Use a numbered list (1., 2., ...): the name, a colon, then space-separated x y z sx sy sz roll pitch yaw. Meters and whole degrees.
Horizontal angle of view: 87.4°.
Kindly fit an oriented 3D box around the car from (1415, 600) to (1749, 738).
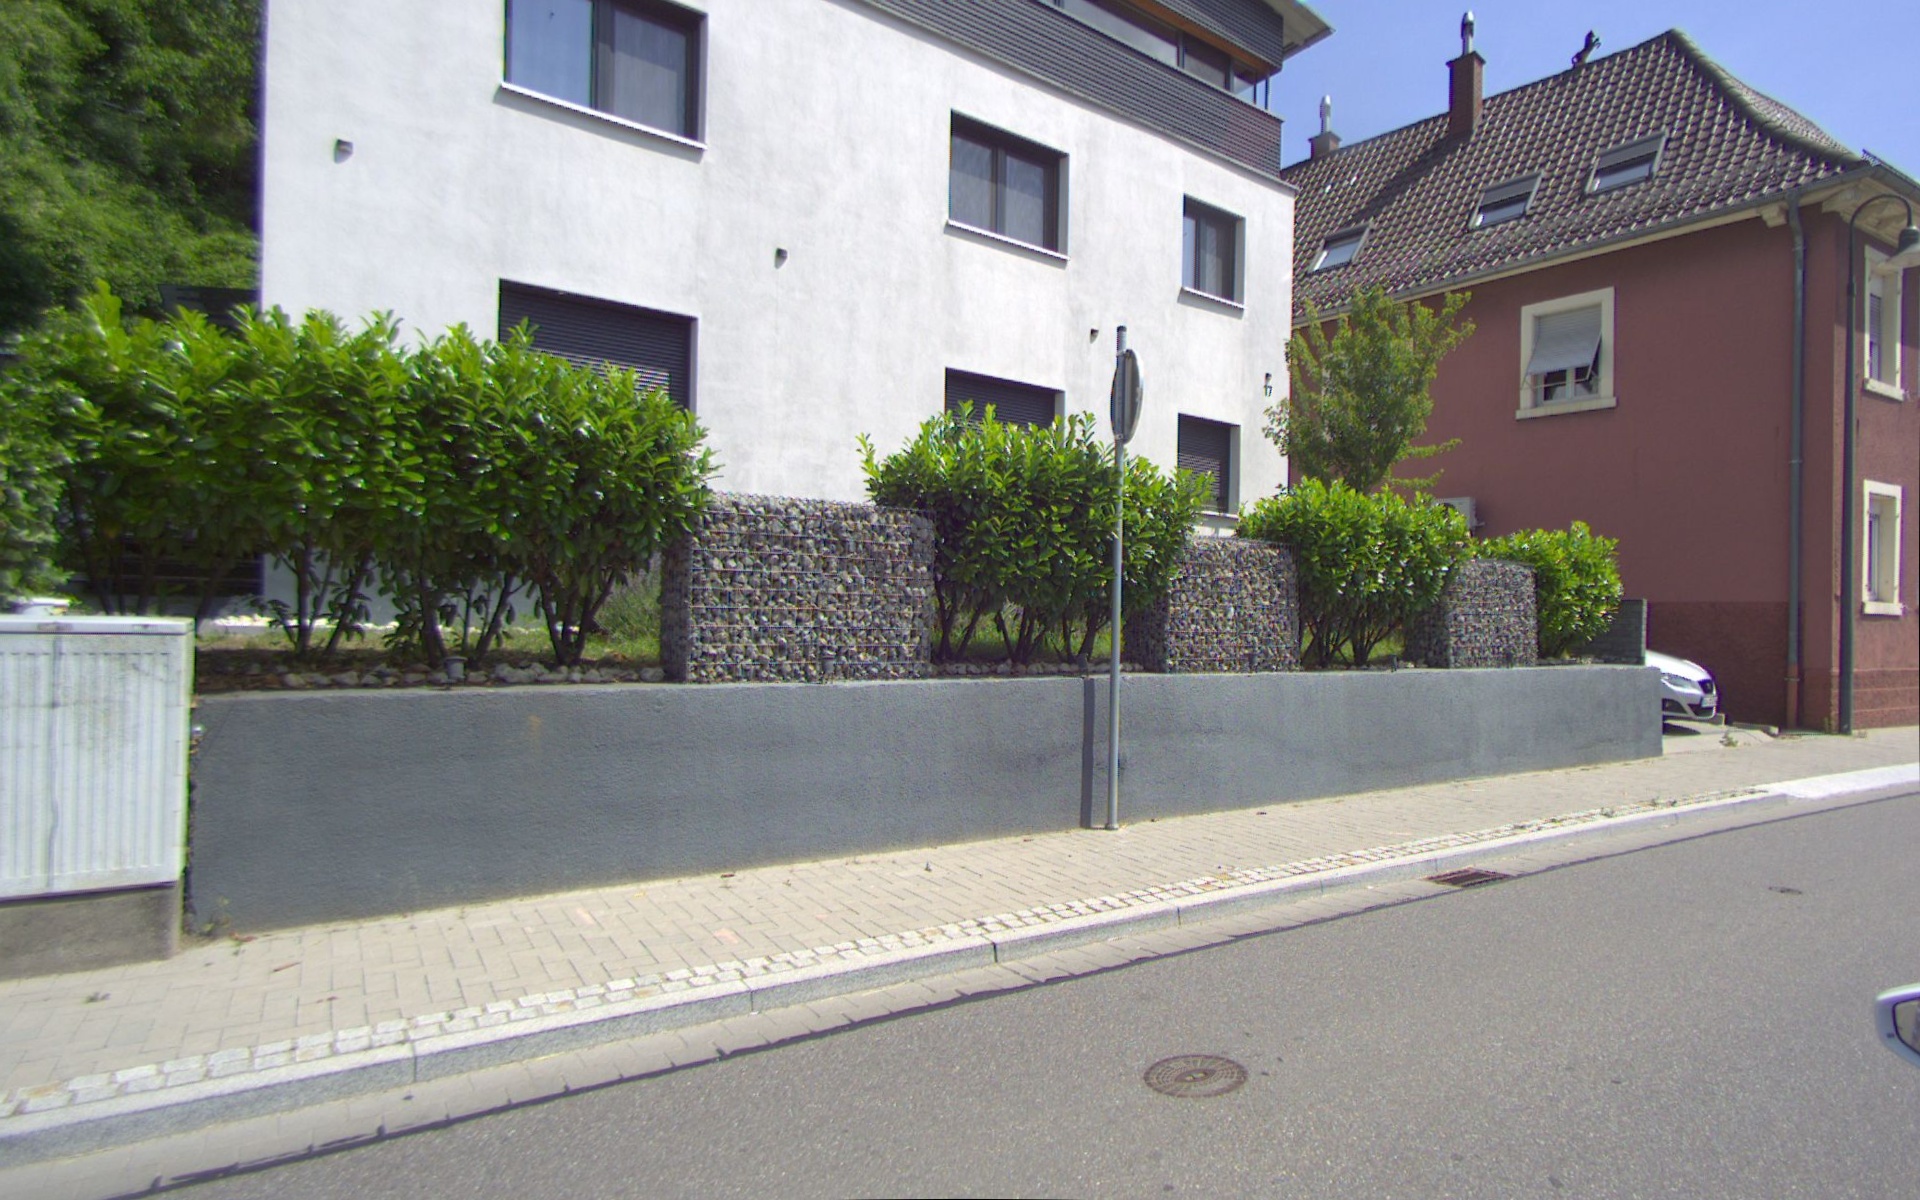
1. car: 8.465 0.847 13.986 1.632 1.425 3.547 1 3 -30
